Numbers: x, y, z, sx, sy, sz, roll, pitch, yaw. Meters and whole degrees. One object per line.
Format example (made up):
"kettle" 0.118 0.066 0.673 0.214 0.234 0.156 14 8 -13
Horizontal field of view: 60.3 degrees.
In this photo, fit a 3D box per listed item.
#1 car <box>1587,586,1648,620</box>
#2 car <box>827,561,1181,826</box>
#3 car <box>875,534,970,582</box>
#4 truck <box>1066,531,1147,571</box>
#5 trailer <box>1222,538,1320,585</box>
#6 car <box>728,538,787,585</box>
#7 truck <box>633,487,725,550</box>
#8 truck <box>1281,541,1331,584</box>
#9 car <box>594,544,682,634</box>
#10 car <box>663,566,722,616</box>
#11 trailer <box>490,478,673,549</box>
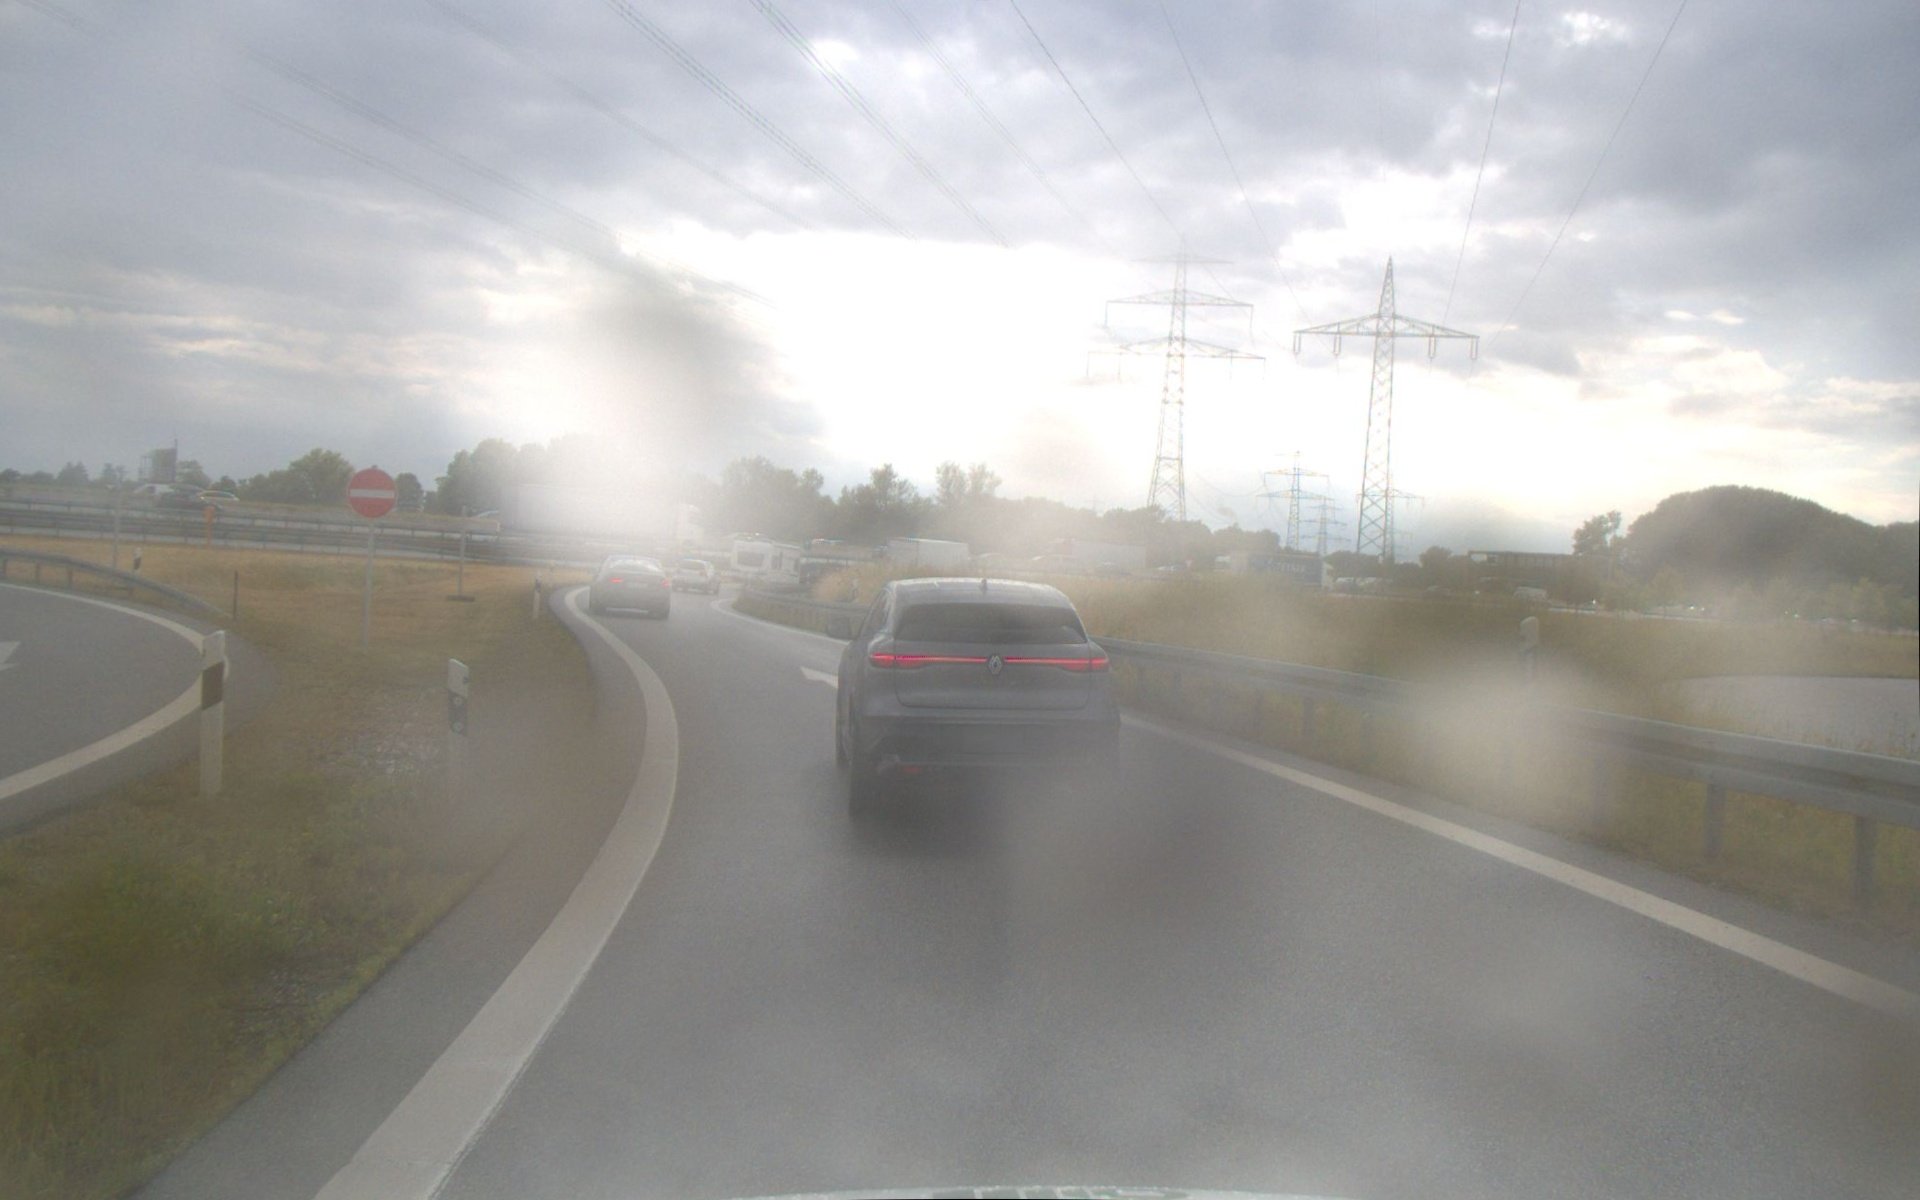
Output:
"car" 79.689 0.372 200.395 8.974 3.672 3.341 3 1 -44
"car" 0.118 0.528 12.240 1.956 1.593 4.142 0 1 -8
"car" -2.544 -2.877 113.822 3.080 3.002 7.193 5 3 31
"truck" 18.307 -6.070 206.066 12.390 4.194 1.970 3 1 -42
"trailer" 34.421 -4.208 182.716 13.184 4.715 3.013 0 4 -42
"car" -11.053 -2.145 90.772 2.302 2.346 5.132 3 3 2
"truck" -22.131 -6.419 130.200 6.211 4.644 3.303 0 4 -41
"truck" 39.106 -4.195 186.883 5.028 4.556 3.033 0 4 -42
"car" -8.557 -0.359 43.897 2.084 2.052 5.520 2 3 -12
"car" -12.424 -0.461 76.968 1.952 2.048 4.002 3 3 1
"trailer" -28.394 -6.448 124.751 13.271 4.695 3.434 0 4 -41
